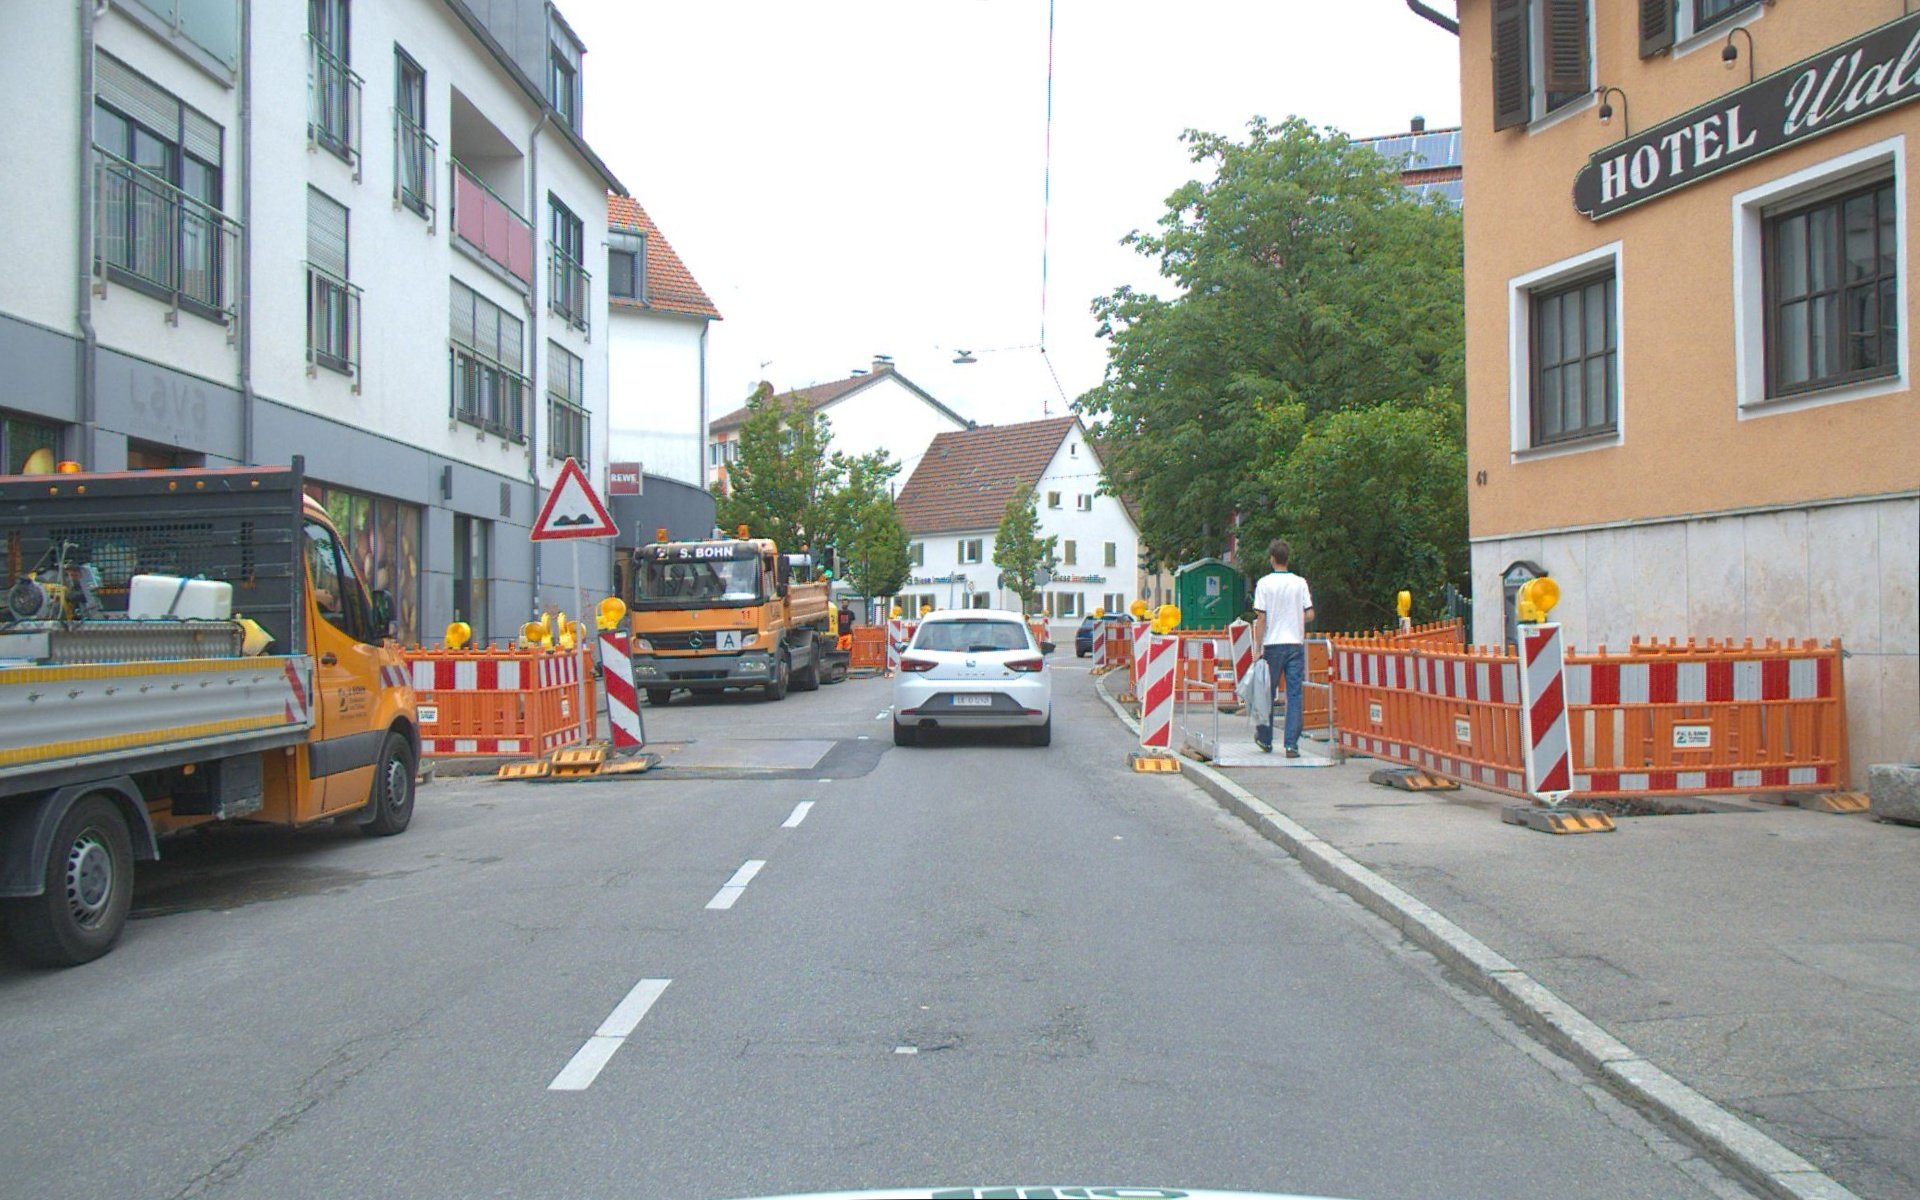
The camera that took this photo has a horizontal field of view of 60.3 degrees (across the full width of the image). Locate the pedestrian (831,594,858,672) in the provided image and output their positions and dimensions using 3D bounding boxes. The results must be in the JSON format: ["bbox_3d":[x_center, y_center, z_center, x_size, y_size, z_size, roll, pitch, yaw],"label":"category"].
[{"bbox_3d":[-2.674,0.759,38.295,0.526,1.774,0.444,-1,-1,8],"label":"pedestrian"}]

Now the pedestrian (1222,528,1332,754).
[{"bbox_3d":[2.884,0.364,15.122,0.782,1.984,0.836,-1,0,-2],"label":"pedestrian"}]

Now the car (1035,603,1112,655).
[{"bbox_3d":[3.597,0.881,51.791,1.773,1.506,3.874,-1,0,14],"label":"car"}]

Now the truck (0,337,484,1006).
[{"bbox_3d":[-4.751,0.277,9.036,2.364,2.509,6.308,-1,0,1],"label":"truck"}]

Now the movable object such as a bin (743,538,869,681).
[{"bbox_3d":[-3.193,0.250,35.206,1.800,2.812,4.508,-1,-2,6],"label":"movable object such as a bin"}]

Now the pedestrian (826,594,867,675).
[{"bbox_3d":[-2.621,0.785,38.304,0.797,1.847,0.744,-1,-1,7],"label":"pedestrian"}]

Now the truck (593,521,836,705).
[{"bbox_3d":[-4.009,0.195,28.685,2.674,2.772,6.851,-1,0,4],"label":"truck"}]

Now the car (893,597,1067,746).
[{"bbox_3d":[0.234,0.731,18.971,1.774,1.506,3.871,1,0,1],"label":"car"}]
